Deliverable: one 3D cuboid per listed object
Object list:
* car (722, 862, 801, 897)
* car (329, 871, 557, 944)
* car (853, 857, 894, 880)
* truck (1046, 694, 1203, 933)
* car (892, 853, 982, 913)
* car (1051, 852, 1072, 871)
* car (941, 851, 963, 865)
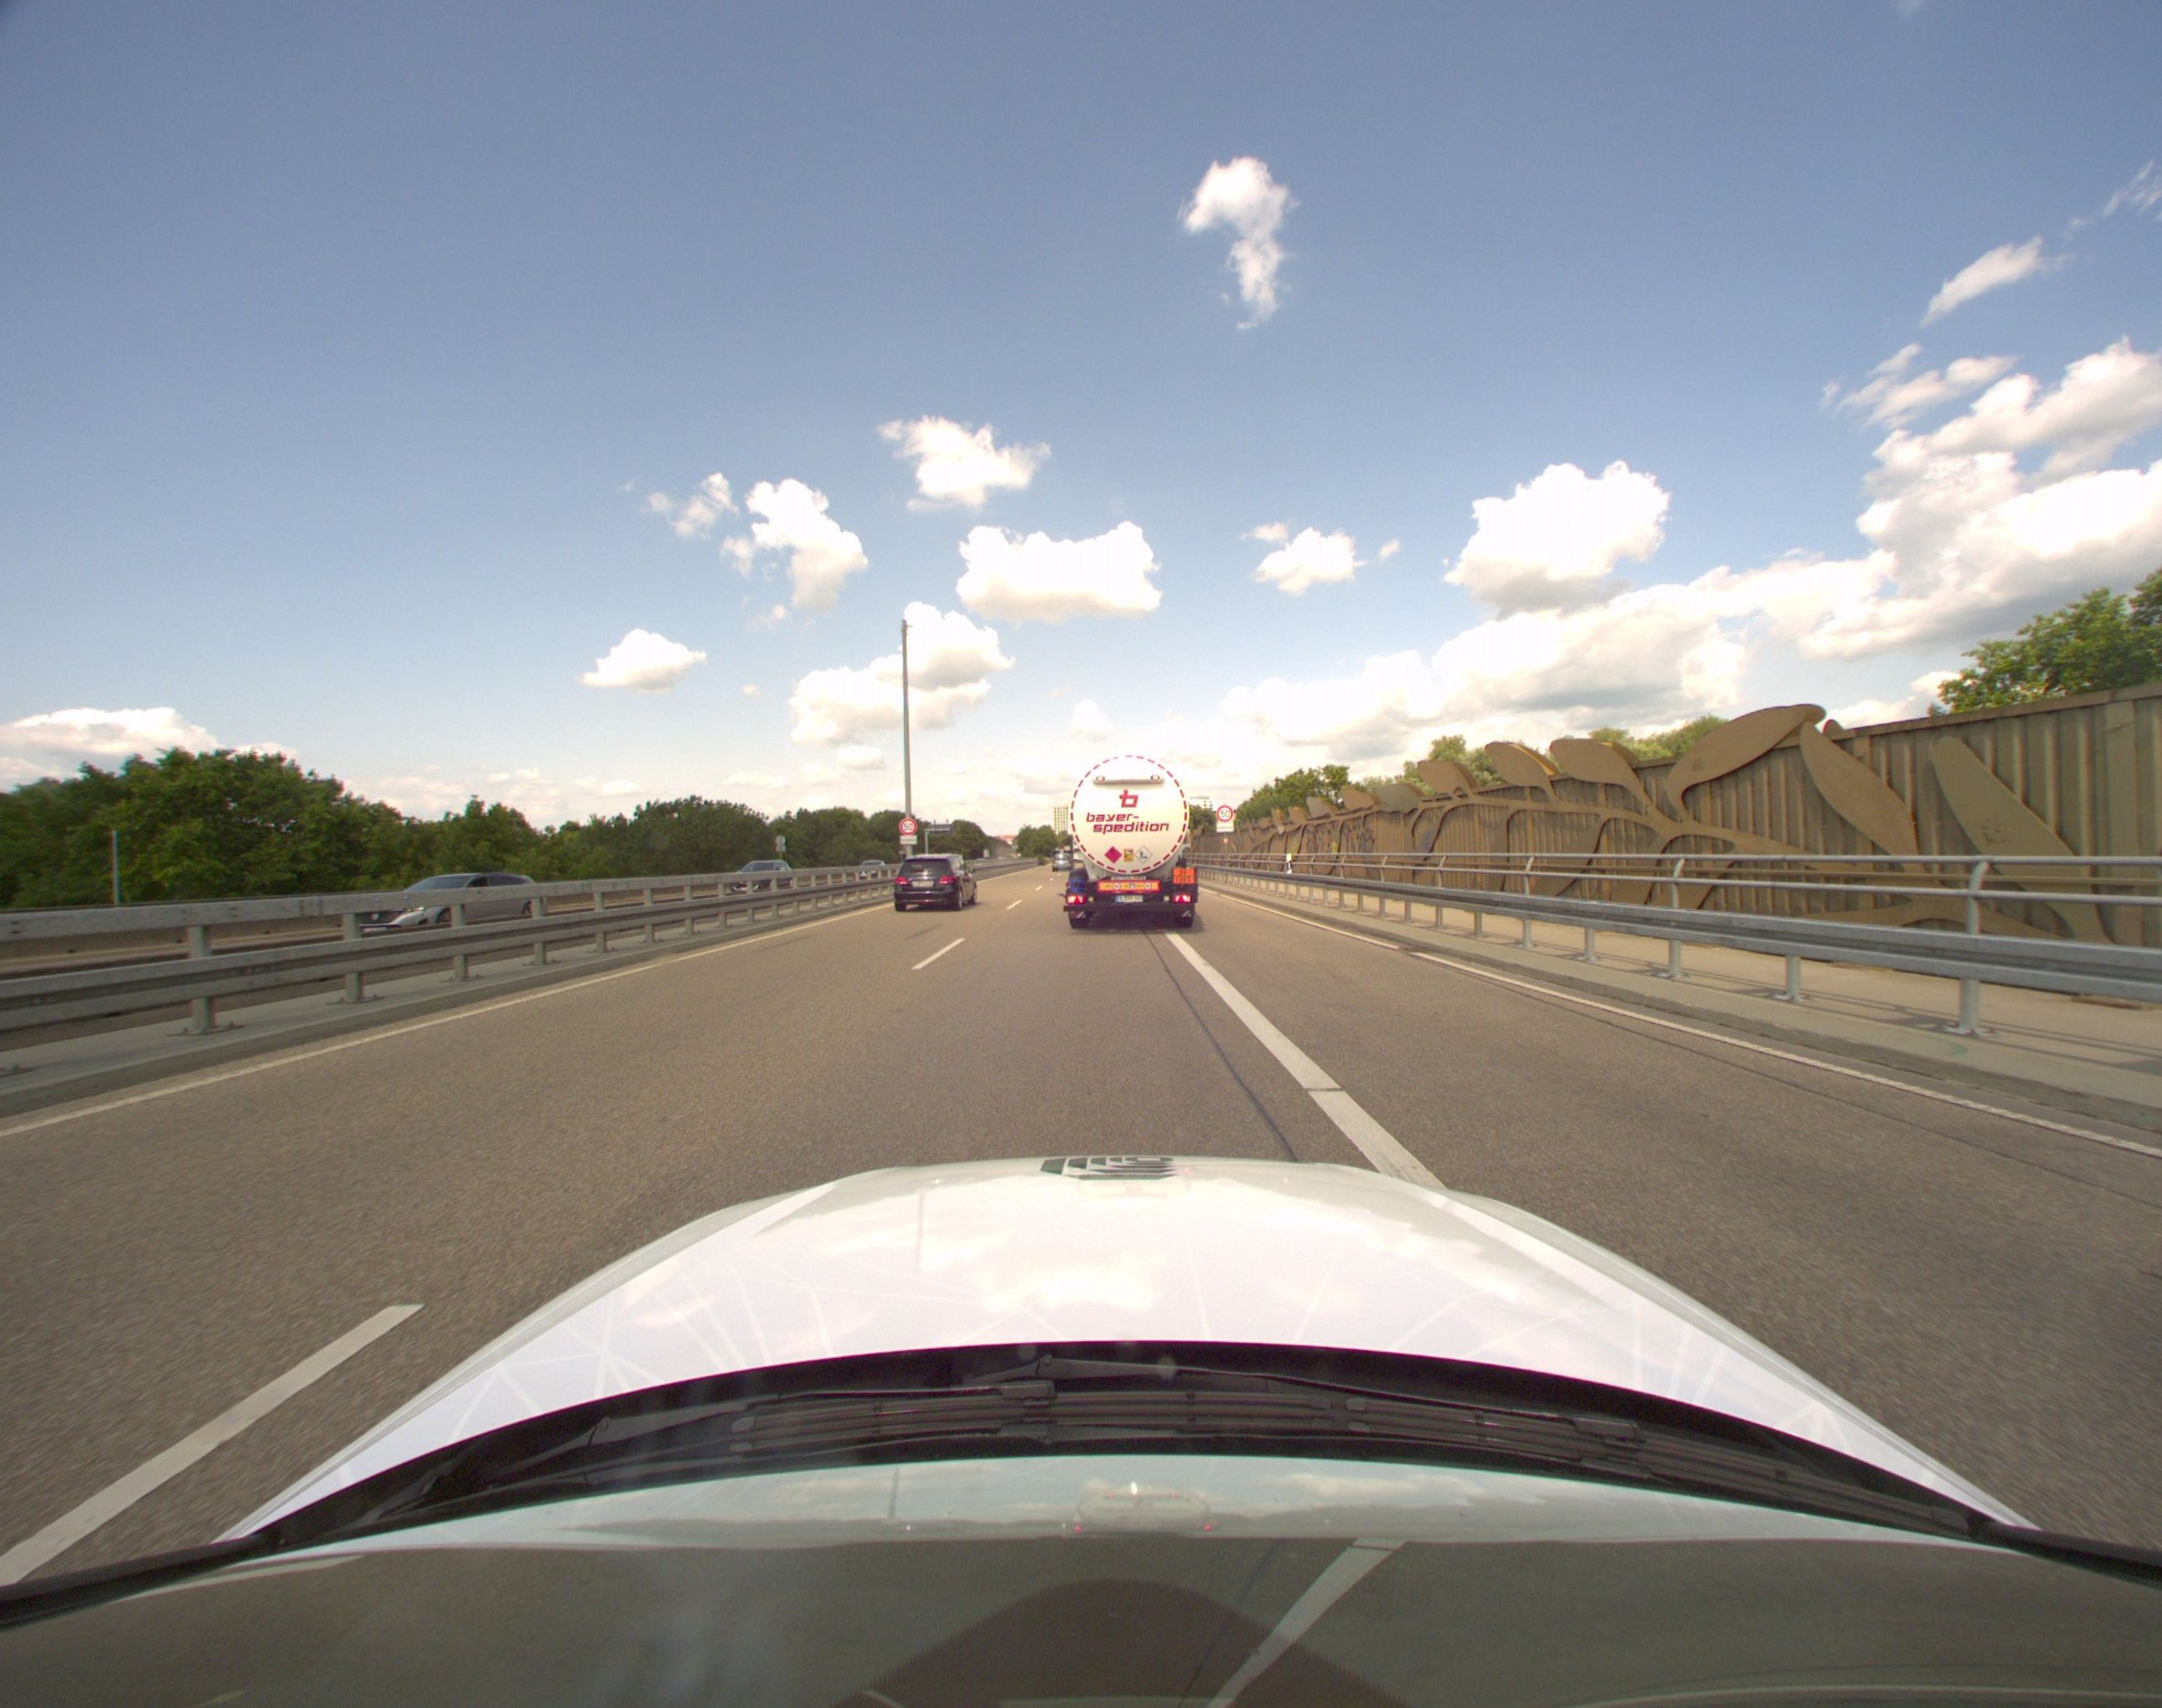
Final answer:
[{"bbox_3d":[-15.242,1.163,39.156,1.905,1.464,4.520,-2,0,1],"label":"car"},{"bbox_3d":[-15.176,1.193,19.787,1.770,1.420,4.623,-1,0,2],"label":"car"},{"bbox_3d":[-15.064,1.024,59.303,1.987,1.574,4.000,0,0,0],"label":"car"},{"bbox_3d":[1.132,-0.762,18.980,2.881,4.368,8.040,0,0,5],"label":"truck"},{"bbox_3d":[-4.021,0.760,23.409,1.705,1.527,4.593,0,0,1],"label":"car"},{"bbox_3d":[-1.692,0.650,72.449,1.742,1.531,4.000,-1,1,0],"label":"car"},{"bbox_3d":[-15.502,0.489,97.882,1.987,1.640,3.999,0,0,0],"label":"car"}]
